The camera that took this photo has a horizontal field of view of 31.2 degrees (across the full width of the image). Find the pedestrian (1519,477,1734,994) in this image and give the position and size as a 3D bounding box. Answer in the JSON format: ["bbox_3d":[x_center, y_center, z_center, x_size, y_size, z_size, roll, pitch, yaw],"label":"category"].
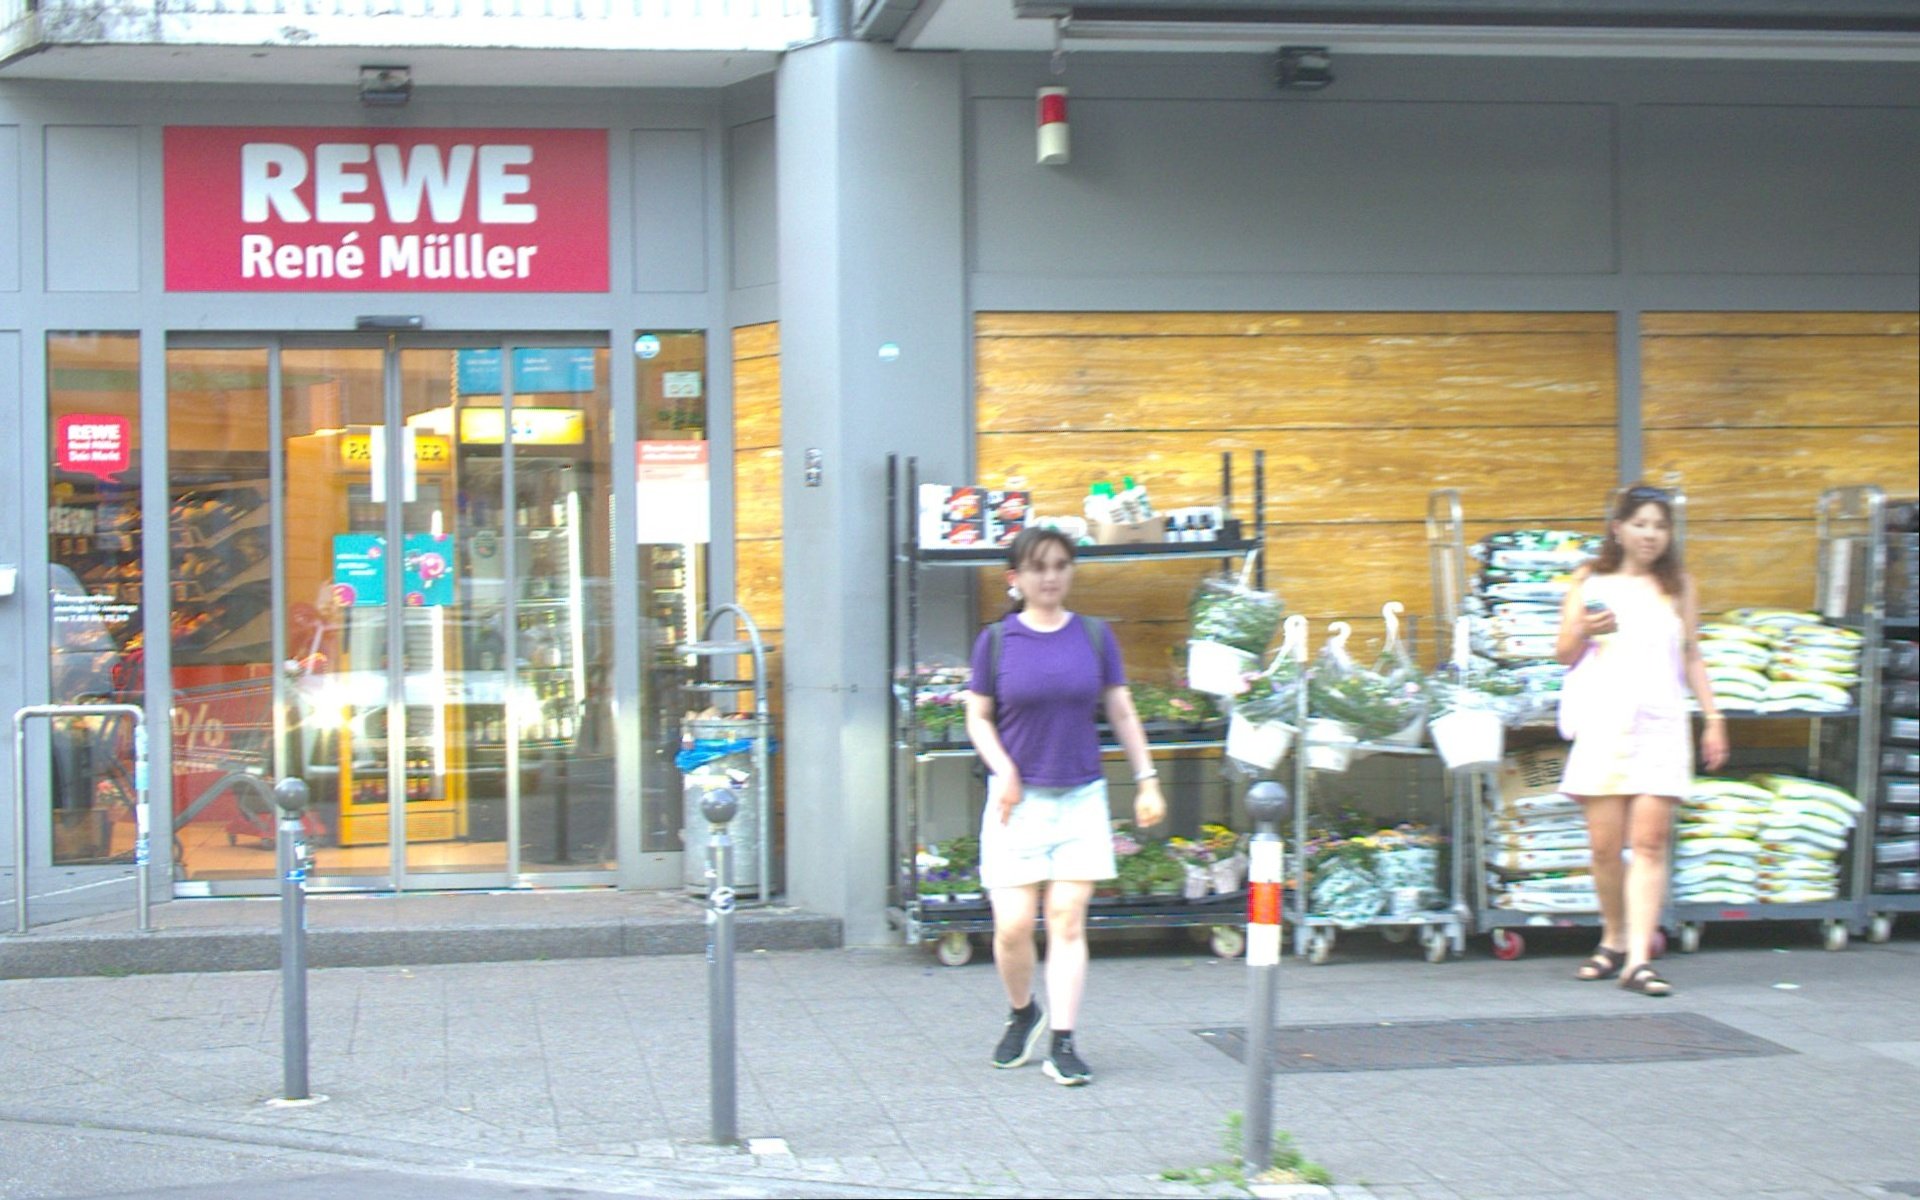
[{"bbox_3d":[2.286,0.456,11.853,0.664,1.720,0.722,0,-1,6],"label":"pedestrian"}]

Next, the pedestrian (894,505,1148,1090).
[{"bbox_3d":[0.188,0.561,10.062,0.711,1.646,0.718,0,-1,3],"label":"pedestrian"}]

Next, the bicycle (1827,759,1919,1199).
[{"bbox_3d":[2.890,0.882,6.629,2.280,1.069,0.790,0,1,22],"label":"bicycle"}]
